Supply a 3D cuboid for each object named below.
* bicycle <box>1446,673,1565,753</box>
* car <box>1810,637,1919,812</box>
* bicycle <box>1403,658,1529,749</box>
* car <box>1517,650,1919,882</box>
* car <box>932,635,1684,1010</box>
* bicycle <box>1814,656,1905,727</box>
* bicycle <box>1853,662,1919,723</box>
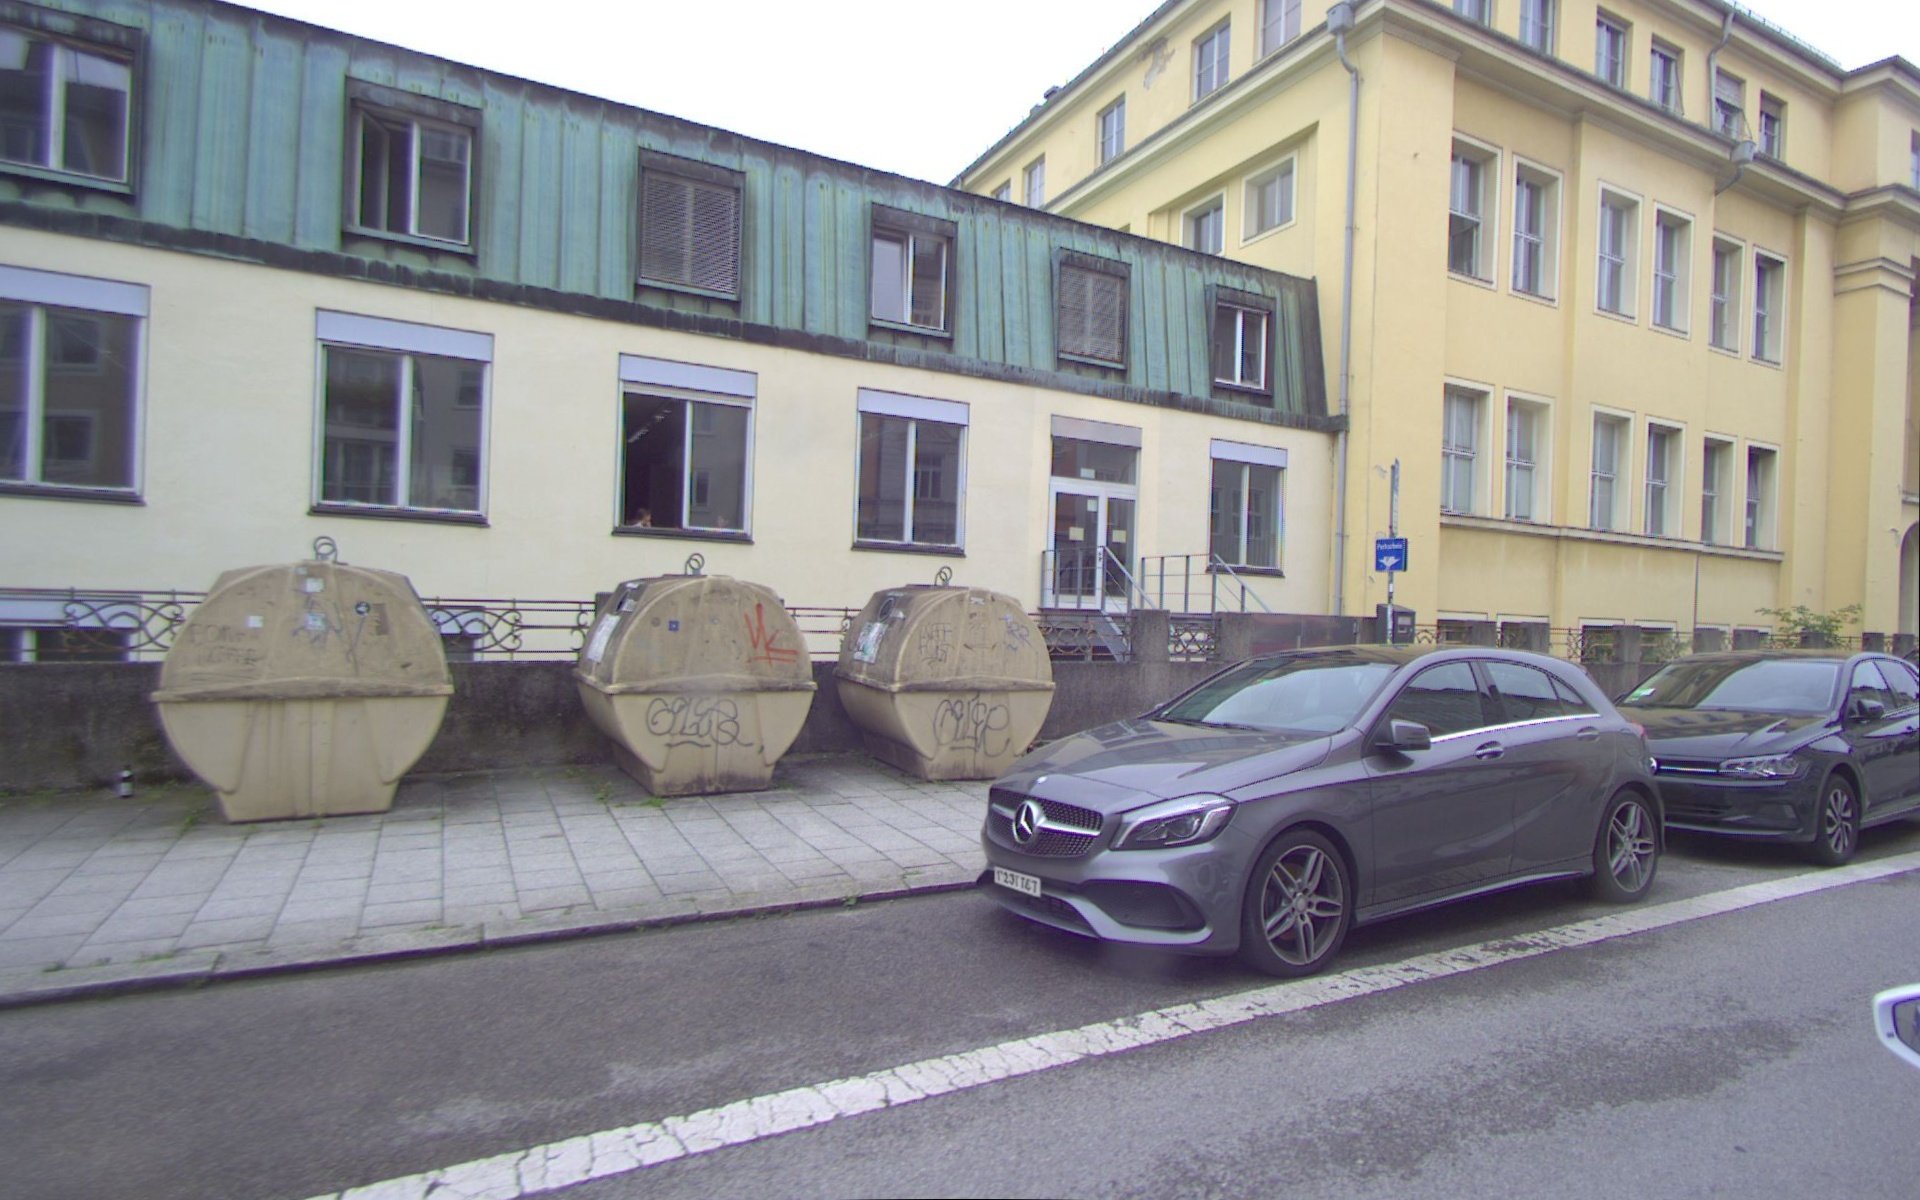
[{"bbox_3d":[7.422,1.516,13.658,1.717,1.008,0.454,2,1,-25],"label":"bicycle"},{"bbox_3d":[10.426,1.195,10.111,3.952,1.587,1.667,2,-4,-31],"label":"car"},{"bbox_3d":[7.050,1.418,13.961,1.911,1.188,0.422,2,1,-25],"label":"bicycle"},{"bbox_3d":[6.341,1.133,7.978,3.947,1.423,1.666,2,-4,-32],"label":"car"},{"bbox_3d":[2.048,0.961,5.666,4.079,1.423,1.786,2,-4,-30],"label":"car"},{"bbox_3d":[16.610,1.671,18.552,1.693,1.214,0.584,2,1,-25],"label":"bicycle"},{"bbox_3d":[18.221,1.782,19.404,1.689,1.092,0.586,2,1,-16],"label":"bicycle"}]
